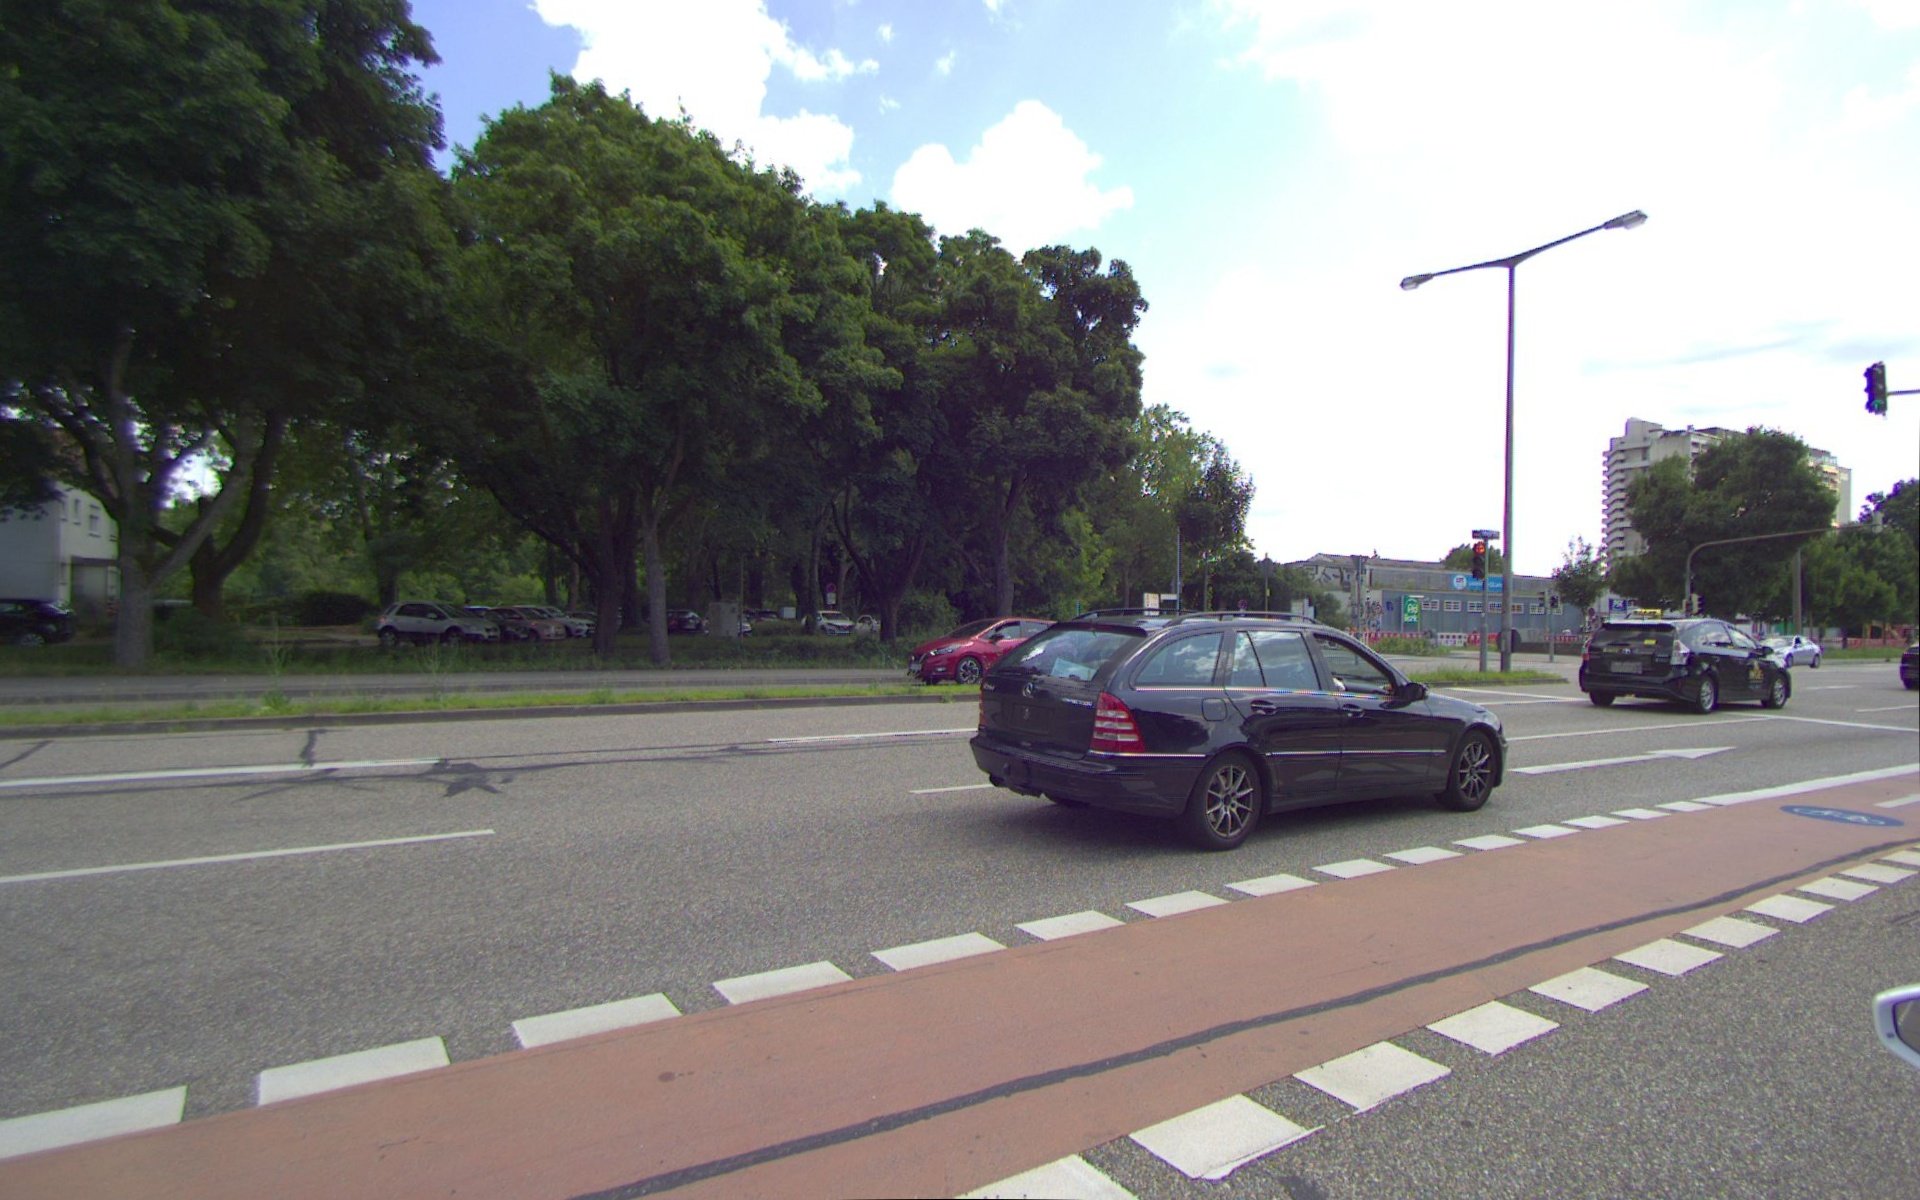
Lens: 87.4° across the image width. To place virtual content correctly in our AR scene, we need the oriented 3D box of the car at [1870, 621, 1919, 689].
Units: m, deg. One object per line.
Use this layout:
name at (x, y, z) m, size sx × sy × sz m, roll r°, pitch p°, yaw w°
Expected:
car at (23.832, 1.337, 24.227) m, size 3.957 × 1.524 × 1.853 m, roll 2°, pitch 0°, yaw -33°

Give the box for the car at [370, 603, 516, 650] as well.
car at (-17.652, 0.895, 34.413) m, size 3.941 × 1.503 × 2.001 m, roll 1°, pitch -1°, yaw 6°

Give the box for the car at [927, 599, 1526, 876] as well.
car at (2.084, 0.795, 7.330) m, size 4.385 × 1.485 × 1.745 m, roll 1°, pitch -1°, yaw -33°

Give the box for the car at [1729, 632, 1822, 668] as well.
car at (35.351, 2.147, 43.510) m, size 4.446 × 1.451 × 1.790 m, roll 1°, pitch -1°, yaw -32°

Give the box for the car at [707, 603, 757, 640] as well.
car at (-11.493, 1.068, 50.425) m, size 1.793 × 1.732 × 4.106 m, roll 1°, pitch -1°, yaw -22°

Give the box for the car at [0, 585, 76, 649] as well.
car at (-26.254, 0.413, 26.497) m, size 4.331 × 1.679 × 1.790 m, roll 2°, pitch 0°, yaw -42°

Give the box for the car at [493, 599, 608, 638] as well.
car at (-17.072, 0.777, 41.962) m, size 3.941 × 1.565 × 2.001 m, roll 1°, pitch -1°, yaw 6°

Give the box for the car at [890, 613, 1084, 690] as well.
car at (0.631, 1.121, 22.350) m, size 3.958 × 1.532 × 1.876 m, roll 2°, pitch 0°, yaw -34°

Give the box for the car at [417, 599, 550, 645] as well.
car at (-17.511, 0.794, 37.046) m, size 3.941 × 1.608 × 2.001 m, roll 1°, pitch -1°, yaw 6°

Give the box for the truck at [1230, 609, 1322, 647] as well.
truck at (21.655, 1.917, 69.259) m, size 2.987 × 2.472 × 6.970 m, roll 1°, pitch -1°, yaw -12°

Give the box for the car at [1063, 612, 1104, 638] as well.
car at (9.113, 1.842, 74.216) m, size 1.904 × 1.817 × 3.611 m, roll 2°, pitch 0°, yaw -13°

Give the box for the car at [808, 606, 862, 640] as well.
car at (-6.700, 1.227, 53.565) m, size 2.044 × 1.748 × 4.111 m, roll 1°, pitch -1°, yaw -19°

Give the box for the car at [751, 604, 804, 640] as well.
car at (-9.366, 1.105, 51.274) m, size 2.014 × 1.748 × 4.559 m, roll 1°, pitch -1°, yaw -19°

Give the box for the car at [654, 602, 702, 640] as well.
car at (-13.736, 0.992, 48.727) m, size 1.793 × 1.750 × 4.106 m, roll 1°, pitch -1°, yaw -22°

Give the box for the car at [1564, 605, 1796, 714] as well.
car at (12.704, 1.001, 17.655) m, size 4.291 × 1.690 × 1.776 m, roll 2°, pitch 0°, yaw -32°

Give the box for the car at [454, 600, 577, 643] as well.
car at (-17.437, 0.857, 39.479) m, size 3.942 × 1.608 × 2.001 m, roll -1°, pitch -1°, yaw 6°
